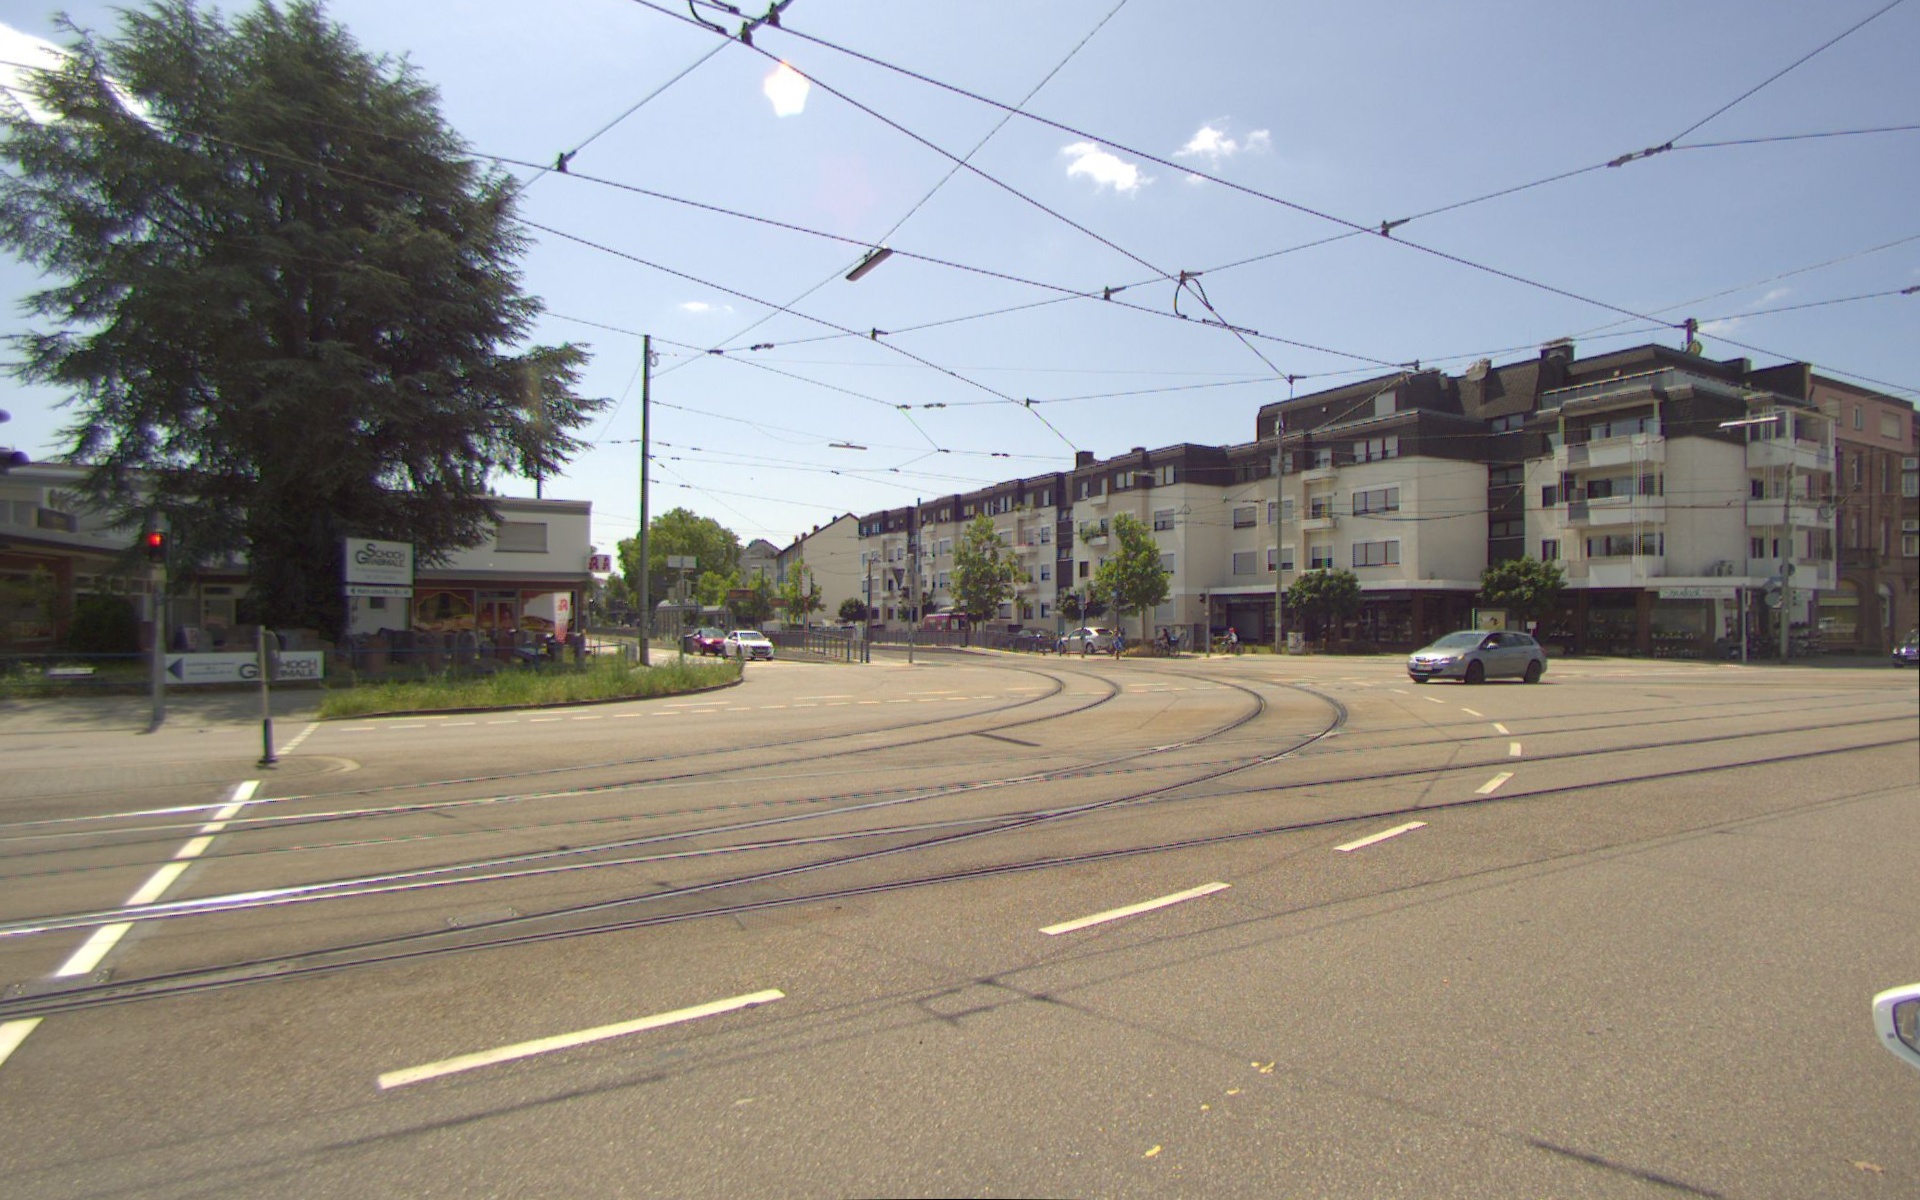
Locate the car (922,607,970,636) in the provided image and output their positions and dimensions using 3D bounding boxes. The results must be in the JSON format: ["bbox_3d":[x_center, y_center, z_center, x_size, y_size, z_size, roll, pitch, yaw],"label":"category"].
[{"bbox_3d":[-1.049,1.597,72.662,1.975,2.040,3.972,1,-2,-28],"label":"car"}]

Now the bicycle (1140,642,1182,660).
[{"bbox_3d":[10.069,2.546,50.304,0.415,0.892,2.229,3,-4,-43],"label":"bicycle"}]

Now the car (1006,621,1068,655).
[{"bbox_3d":[4.832,2.402,63.322,1.977,2.040,3.968,2,-4,-31],"label":"car"}]

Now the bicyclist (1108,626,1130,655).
[{"bbox_3d":[8.300,2.114,52.493,0.731,1.506,0.844,2,-4,-39],"label":"bicyclist"}]

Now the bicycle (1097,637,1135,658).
[{"bbox_3d":[8.168,2.498,52.643,0.512,1.115,2.233,2,-4,-39],"label":"bicycle"}]

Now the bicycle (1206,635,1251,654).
[{"bbox_3d":[13.890,2.325,52.031,0.666,0.947,2.231,2,-4,-41],"label":"bicycle"}]

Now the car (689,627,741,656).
[{"bbox_3d":[-13.853,2.374,56.664,1.975,1.520,3.972,1,-4,-28],"label":"car"}]

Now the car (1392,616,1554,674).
[{"bbox_3d":[14.264,1.196,27.883,4.349,1.491,1.984,1,-1,-30],"label":"car"}]

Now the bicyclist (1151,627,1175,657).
[{"bbox_3d":[10.152,2.113,50.247,0.626,1.441,0.952,2,-4,-43],"label":"bicyclist"}]

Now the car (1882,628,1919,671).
[{"bbox_3d":[40.525,2.058,42.125,4.232,1.705,1.714,0,-1,-33],"label":"car"}]

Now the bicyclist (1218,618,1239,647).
[{"bbox_3d":[13.907,1.685,52.029,0.651,1.487,0.839,2,-4,-41],"label":"bicyclist"}]

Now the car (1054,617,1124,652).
[{"bbox_3d":[7.347,1.955,57.671,1.977,1.937,3.967,1,-2,-31],"label":"car"}]

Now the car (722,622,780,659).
[{"bbox_3d":[-10.539,2.075,50.433,1.876,1.747,3.827,1,-4,-28],"label":"car"}]
